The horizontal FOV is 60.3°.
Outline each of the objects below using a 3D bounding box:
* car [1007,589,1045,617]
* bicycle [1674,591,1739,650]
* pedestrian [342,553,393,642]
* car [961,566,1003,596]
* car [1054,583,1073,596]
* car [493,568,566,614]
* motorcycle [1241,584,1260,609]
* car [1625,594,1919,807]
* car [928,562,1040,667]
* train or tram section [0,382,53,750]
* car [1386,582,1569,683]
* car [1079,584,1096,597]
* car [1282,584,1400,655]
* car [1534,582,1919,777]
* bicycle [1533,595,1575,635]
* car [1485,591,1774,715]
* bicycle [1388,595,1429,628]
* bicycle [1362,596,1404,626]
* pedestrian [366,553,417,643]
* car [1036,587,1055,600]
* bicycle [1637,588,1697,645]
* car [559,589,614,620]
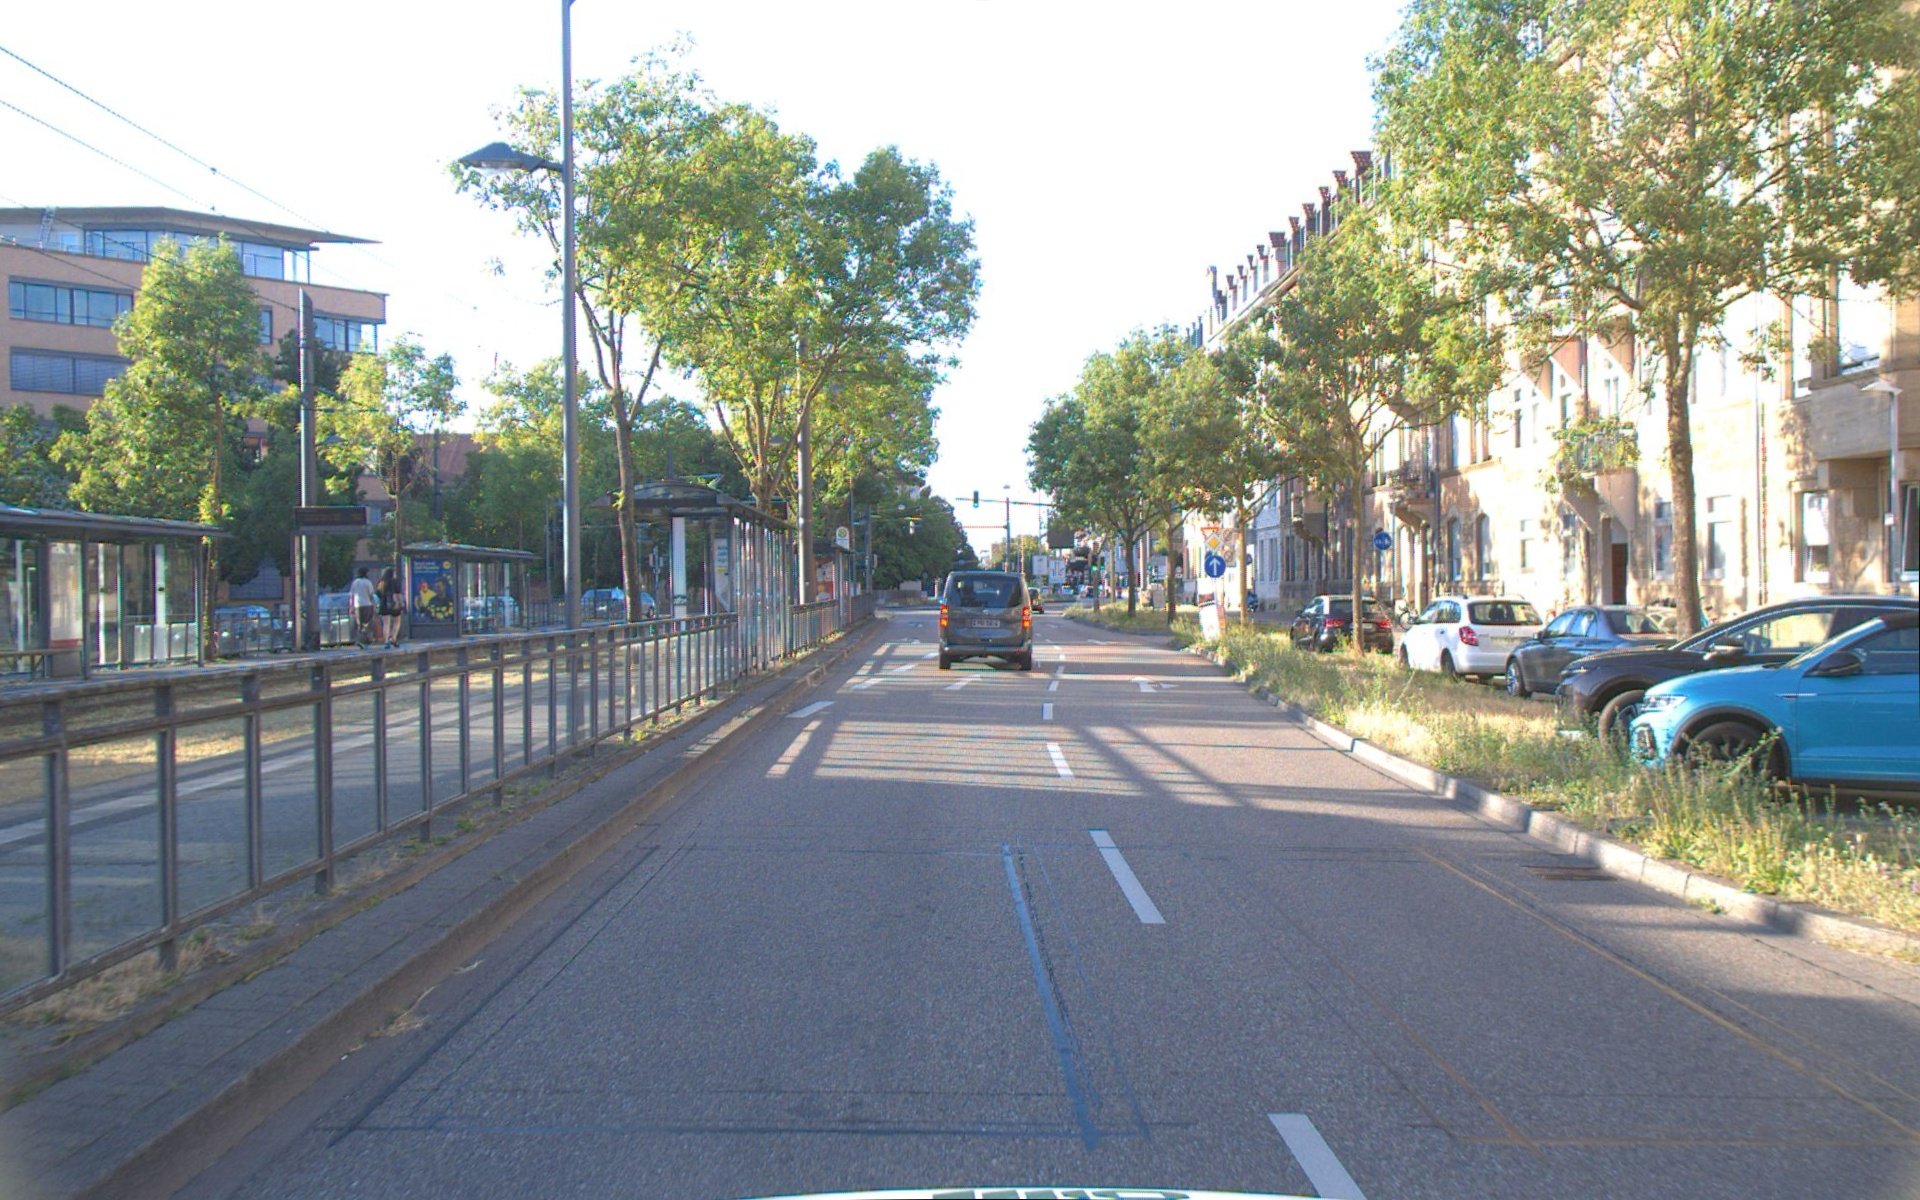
[{"bbox_3d":[3.751,0.161,94.321,1.953,1.537,3.999,0,0,-1],"label":"car"},{"bbox_3d":[15.856,0.419,35.188,0.473,1.185,1.746,-6,0,0],"label":"bicycle"},{"bbox_3d":[-13.930,-0.068,38.918,0.754,2.049,1.127,-1,0,1],"label":"pedestrian"},{"bbox_3d":[1.135,-0.995,87.571,1.954,1.537,3.997,0,0,-4],"label":"car"},{"bbox_3d":[13.836,-1.370,221.170,1.954,1.685,4.296,-1,0,-3],"label":"car"},{"bbox_3d":[-16.487,-0.350,63.530,1.821,1.682,3.999,0,1,-1],"label":"car"},{"bbox_3d":[14.728,-0.173,83.871,0.542,1.235,2.072,1,0,-2],"label":"motorcycle"},{"bbox_3d":[7.554,0.733,12.863,4.196,1.548,1.843,0,1,32],"label":"car"},{"bbox_3d":[0.556,0.264,33.363,1.951,1.934,4.301,1,0,5],"label":"car"},{"bbox_3d":[-10.439,-0.276,9.148,3.361,3.398,13.855,0,0,-1],"label":"train or tram section"},{"bbox_3d":[8.802,0.499,28.483,1.691,1.538,4.271,2,0,-1],"label":"car"},{"bbox_3d":[16.718,-1.249,217.499,1.952,1.685,4.299,-1,0,1],"label":"car"},{"bbox_3d":[8.670,0.405,37.946,1.669,1.473,4.288,2,0,0],"label":"car"},{"bbox_3d":[7.771,0.676,15.498,4.245,1.599,1.999,2,1,29],"label":"car"},{"bbox_3d":[15.688,0.379,43.709,0.473,1.023,1.746,-1,0,0],"label":"bicycle"},{"bbox_3d":[9.084,0.648,22.956,1.906,1.470,4.907,2,0,-1],"label":"car"},{"bbox_3d":[14.112,0.352,52.091,0.718,0.964,2.340,-2,0,3],"label":"bicycle"},{"bbox_3d":[13.947,0.353,54.645,0.854,0.932,2.085,-2,0,1],"label":"bicycle"},{"bbox_3d":[-13.159,-0.053,38.311,0.754,2.049,1.127,-1,0,1],"label":"pedestrian"},{"bbox_3d":[11.428,-0.890,221.240,1.954,1.685,4.296,-1,0,-3],"label":"car"},{"bbox_3d":[15.835,0.357,37.091,0.473,1.185,1.746,-6,0,0],"label":"bicycle"},{"bbox_3d":[-17.762,0.205,78.819,1.758,1.440,4.340,1,0,-1],"label":"car"}]
